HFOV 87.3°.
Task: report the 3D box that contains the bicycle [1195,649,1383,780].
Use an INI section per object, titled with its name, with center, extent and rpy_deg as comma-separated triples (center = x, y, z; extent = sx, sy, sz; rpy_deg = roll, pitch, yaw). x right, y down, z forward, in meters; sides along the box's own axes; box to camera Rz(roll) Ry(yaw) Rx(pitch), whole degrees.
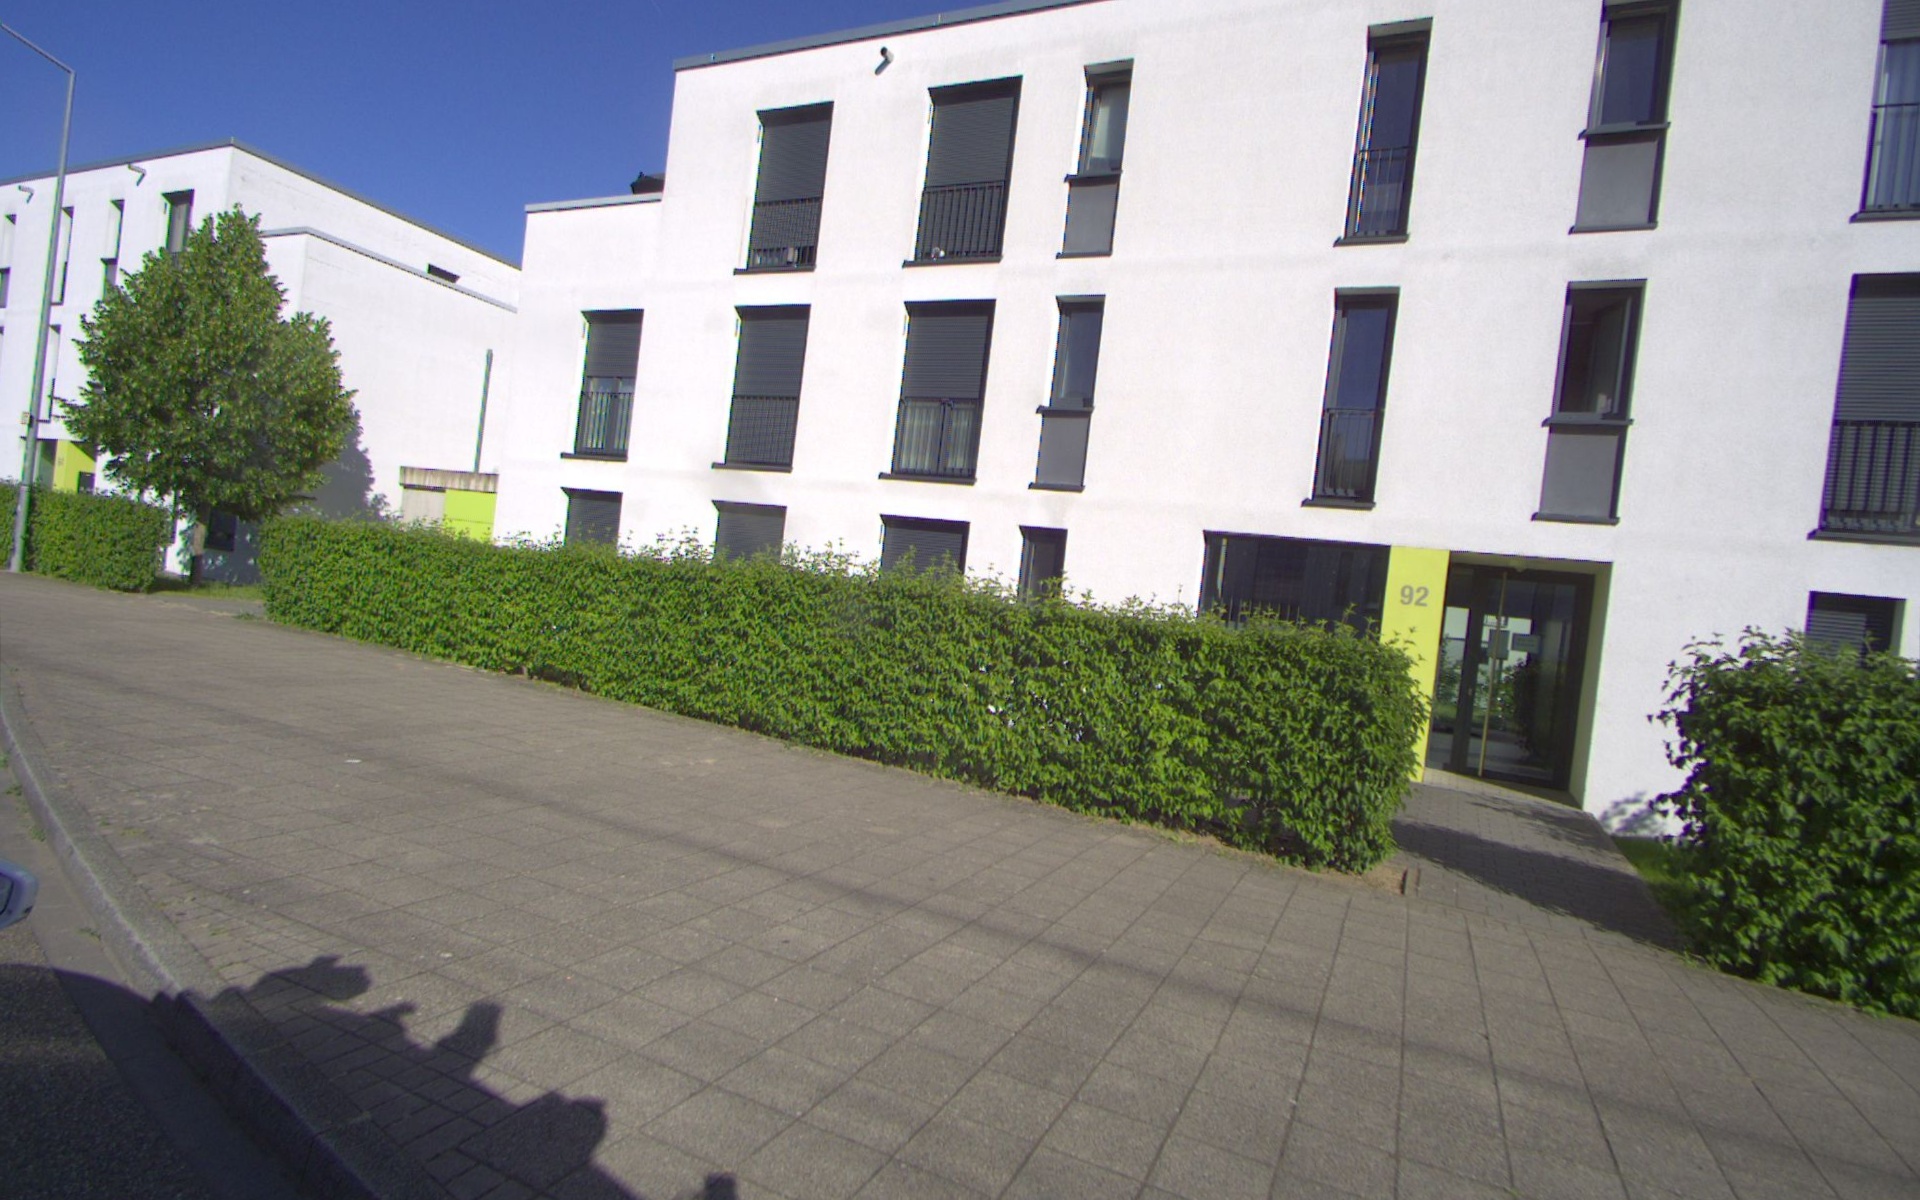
[bicycle]
center = 3.450, 1.180, 10.614
extent = 1.699, 1.088, 0.516
rpy_deg = 7, -1, 30
